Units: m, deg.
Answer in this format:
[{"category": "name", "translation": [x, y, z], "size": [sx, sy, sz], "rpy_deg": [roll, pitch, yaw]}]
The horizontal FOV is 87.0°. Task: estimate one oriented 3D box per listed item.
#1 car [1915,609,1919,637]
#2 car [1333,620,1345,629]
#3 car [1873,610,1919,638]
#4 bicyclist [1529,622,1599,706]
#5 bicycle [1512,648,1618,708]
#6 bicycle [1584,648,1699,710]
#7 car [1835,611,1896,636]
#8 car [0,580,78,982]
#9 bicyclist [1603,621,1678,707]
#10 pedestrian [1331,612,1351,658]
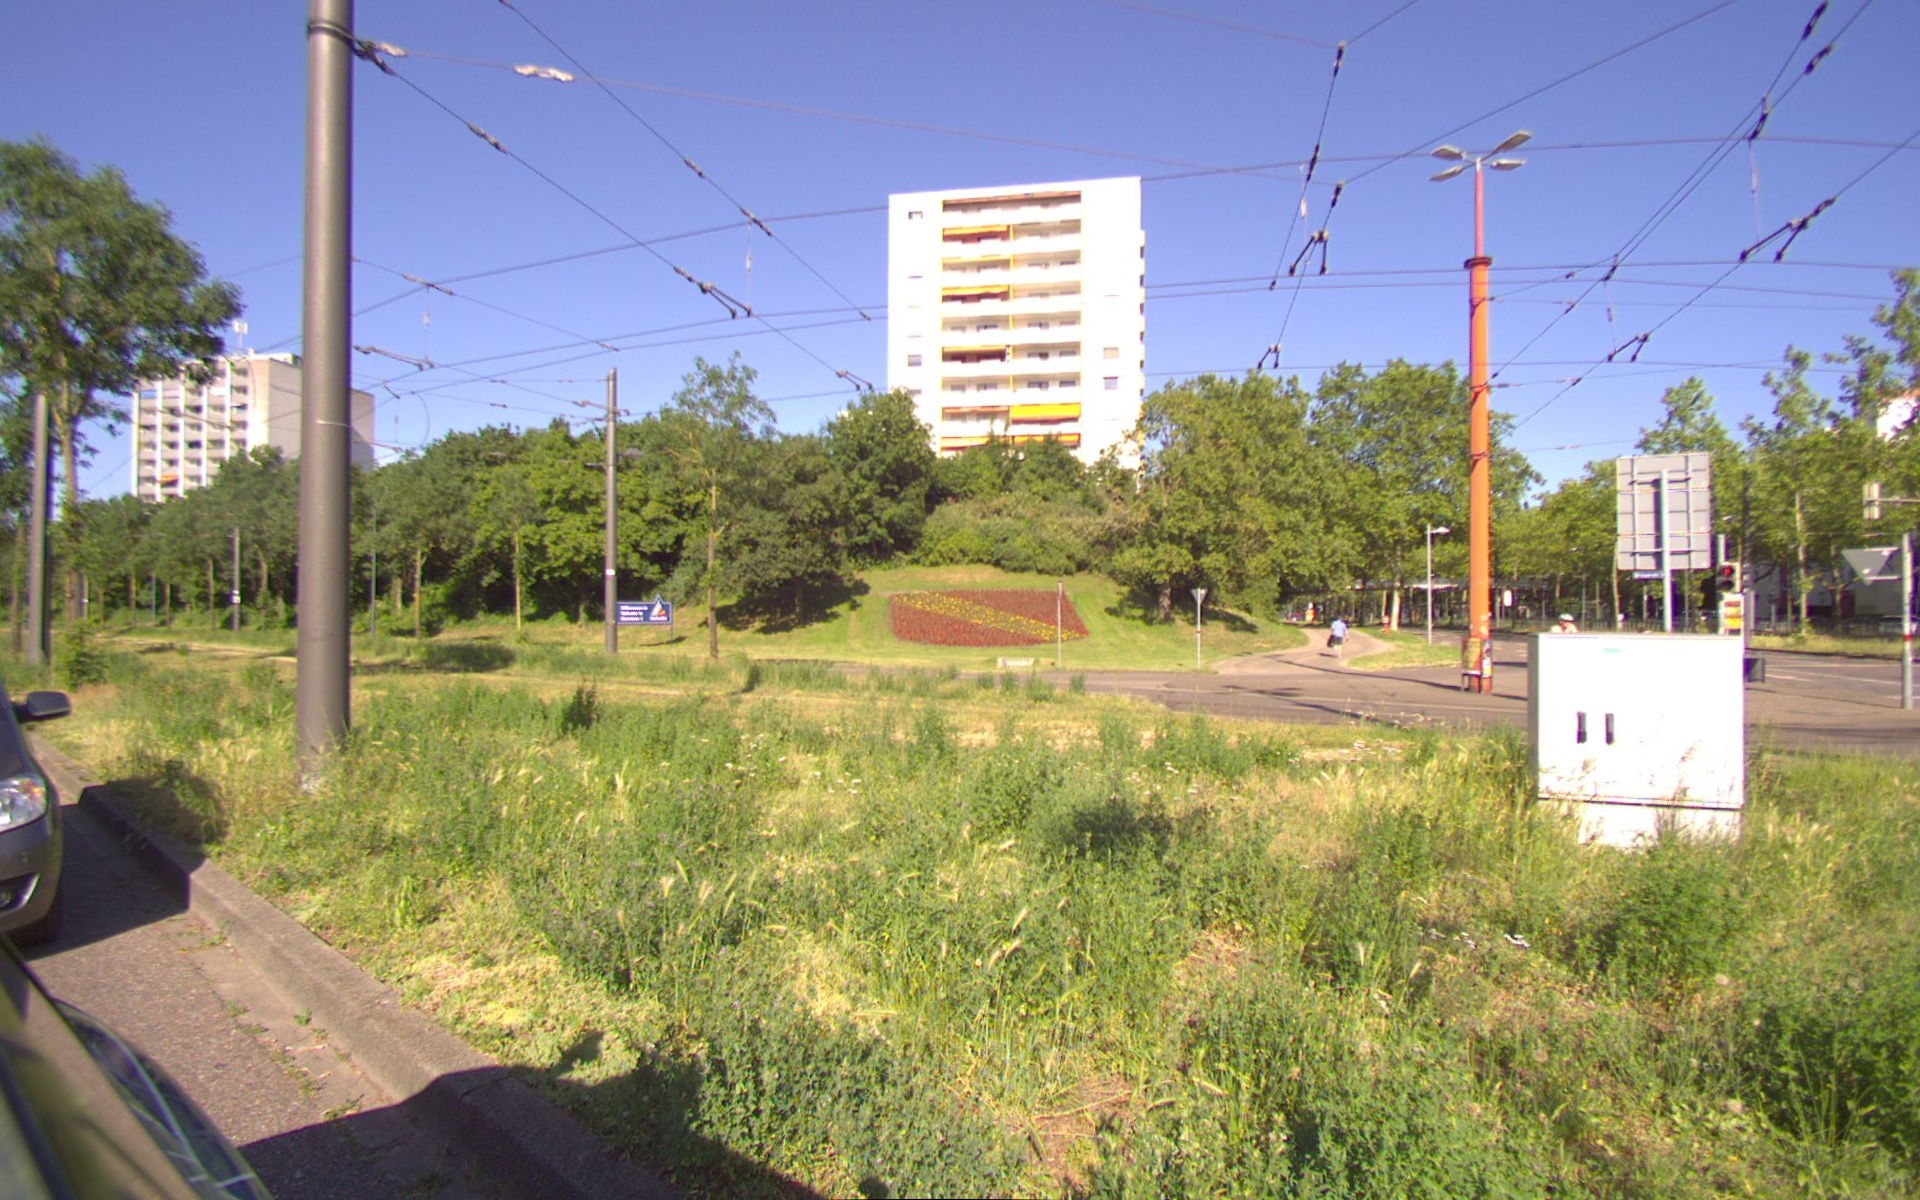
[{"category": "car", "translation": [64.406, 1.514, 65.900], "size": [3.931, 1.829, 2.006], "rpy_deg": [1, -2, -27]}, {"category": "car", "translation": [67.751, 4.318, 181.089], "size": [1.928, 1.606, 3.882], "rpy_deg": [-1, -1, 20]}, {"category": "car", "translation": [65.248, 1.651, 69.863], "size": [3.931, 1.829, 2.006], "rpy_deg": [1, -2, -27]}, {"category": "bicyclist", "translation": [12.097, 1.261, 20.297], "size": [0.920, 1.650, 0.741], "rpy_deg": [0, -1, -1]}, {"category": "bicycle", "translation": [12.092, 1.539, 20.314], "size": [0.915, 1.095, 1.888], "rpy_deg": [0, -1, -2]}, {"category": "bicycle", "translation": [13.358, 1.524, 19.912], "size": [0.915, 1.095, 1.888], "rpy_deg": [0, -1, -2]}, {"category": "car", "translation": [66.015, 1.708, 73.759], "size": [3.931, 1.829, 2.006], "rpy_deg": [1, -2, -27]}, {"category": "car", "translation": [-5.939, 0.755, 5.039], "size": [4.382, 1.619, 1.754], "rpy_deg": [-1, -2, 41]}, {"category": "bicyclist", "translation": [13.354, 1.244, 19.879], "size": [0.920, 1.650, 0.741], "rpy_deg": [0, -1, -1]}, {"category": "pedestrian", "translation": [16.060, 1.465, 42.612], "size": [0.729, 1.949, 0.726], "rpy_deg": [-1, -2, 24]}]
